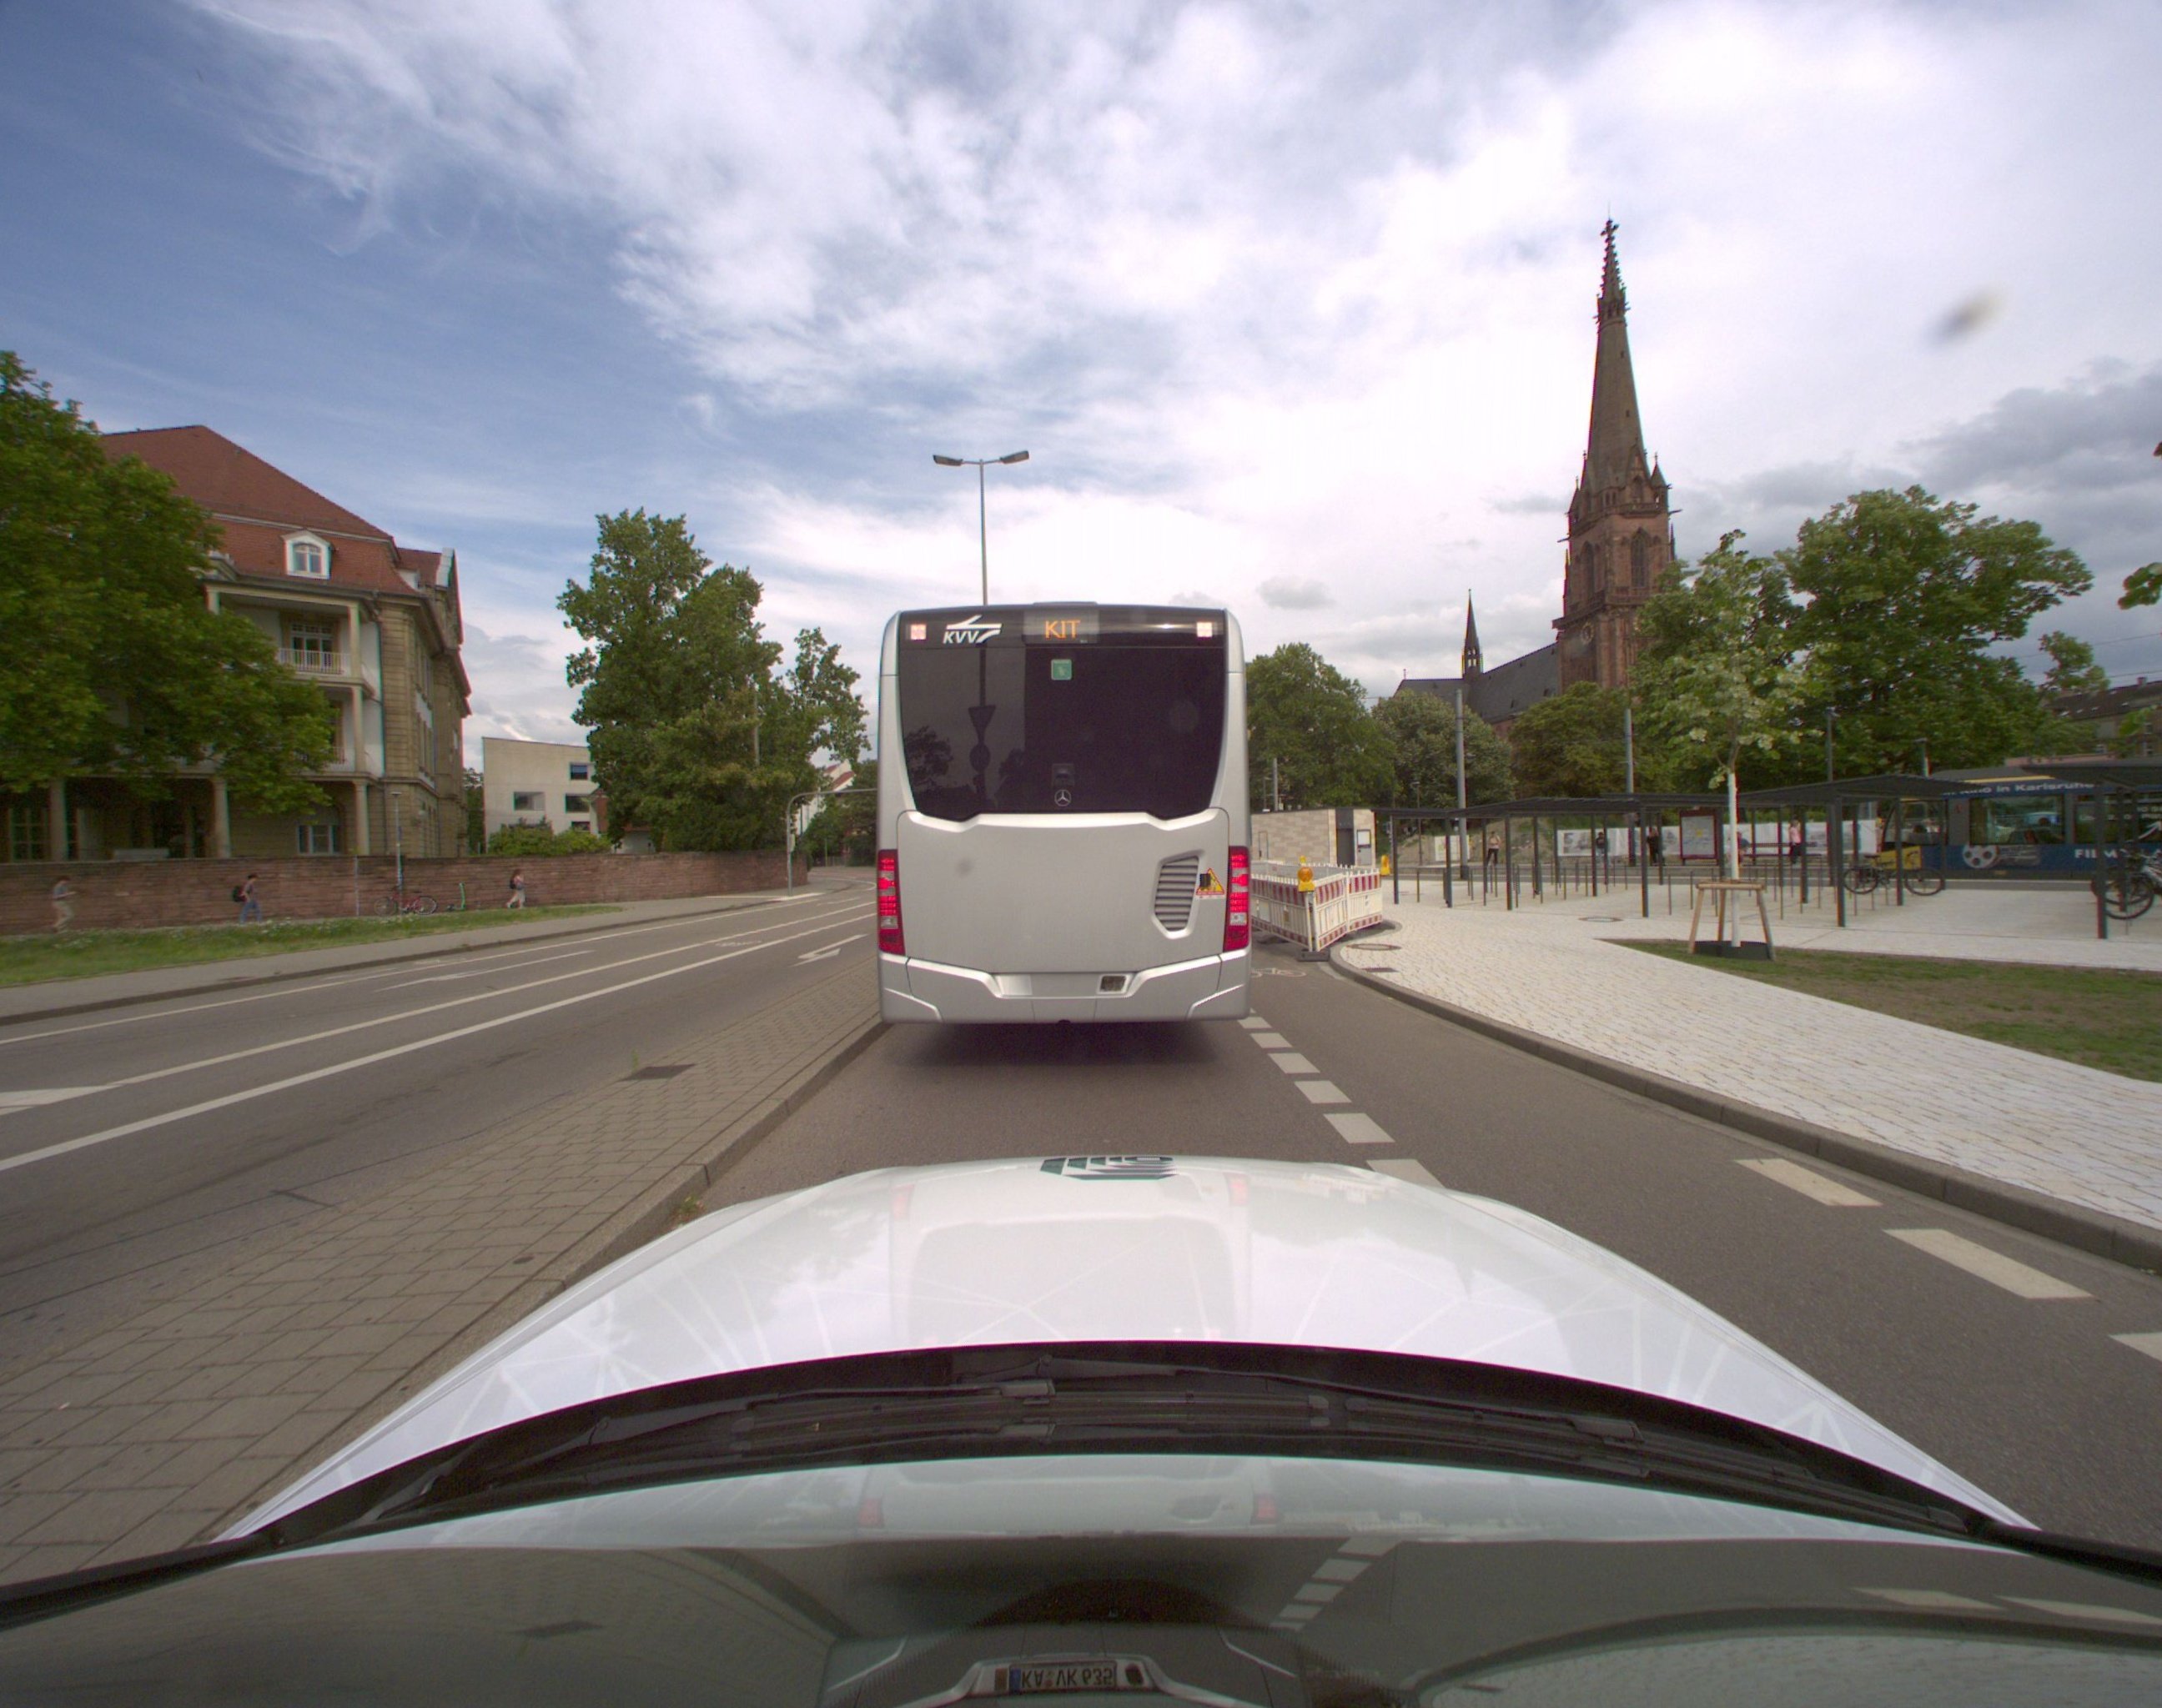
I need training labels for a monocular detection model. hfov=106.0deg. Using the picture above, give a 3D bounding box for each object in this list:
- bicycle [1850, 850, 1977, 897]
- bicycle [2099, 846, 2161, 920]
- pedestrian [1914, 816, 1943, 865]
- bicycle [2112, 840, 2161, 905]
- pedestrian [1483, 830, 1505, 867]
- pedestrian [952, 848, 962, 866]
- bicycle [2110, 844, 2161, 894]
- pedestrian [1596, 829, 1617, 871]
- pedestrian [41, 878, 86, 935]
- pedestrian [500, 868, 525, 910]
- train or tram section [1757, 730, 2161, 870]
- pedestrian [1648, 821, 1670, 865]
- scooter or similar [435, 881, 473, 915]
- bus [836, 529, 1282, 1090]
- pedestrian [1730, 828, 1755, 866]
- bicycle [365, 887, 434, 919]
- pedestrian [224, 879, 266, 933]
[{"bbox_3d":[18.783,0.405,18.419,0.587,0.955,1.944,-3,3,-38],"label":"bicycle"},{"bbox_3d":[17.816,0.469,12.969,0.587,1.156,1.942,-4,3,-43],"label":"bicycle"},{"bbox_3d":[29.868,-0.491,28.692,0.714,1.677,0.670,-4,3,-42],"label":"pedestrian"},{"bbox_3d":[20.091,0.332,14.596,0.587,1.156,1.942,-4,3,-43],"label":"bicycle"},{"bbox_3d":[20.504,-0.276,40.439,0.816,1.800,0.755,-1,2,11],"label":"pedestrian"},{"bbox_3d":[-14.819,0.352,97.217,0.891,2.013,1.000,-2,0,-26],"label":"pedestrian"},{"bbox_3d":[21.965,0.304,16.127,0.587,0.970,1.944,-3,3,-38],"label":"bicycle"},{"bbox_3d":[23.218,-0.191,36.003,0.526,1.800,0.670,-4,3,-42],"label":"pedestrian"},{"bbox_3d":[-30.991,1.582,24.808,0.570,1.654,0.787,0,3,38],"label":"pedestrian"},{"bbox_3d":[-23.186,1.409,33.228,0.525,1.654,0.634,0,3,37],"label":"pedestrian"},{"bbox_3d":[24.831,-1.396,22.308,3.076,3.276,9.270,-3,3,-35],"label":"train or tram section"},{"bbox_3d":[24.451,-0.476,34.462,0.526,1.800,0.670,-4,3,-42],"label":"pedestrian"},{"bbox_3d":[-24.569,1.711,31.938,0.519,1.139,1.513,-2,3,-13],"label":"scooter or similar"},{"bbox_3d":[-0.161,-0.248,12.163,2.696,3.438,14.180,-1,0,0],"label":"bus"},{"bbox_3d":[26.185,-0.283,32.247,0.694,1.485,0.670,-4,3,-42],"label":"pedestrian"},{"bbox_3d":[-25.637,1.826,30.660,1.937,1.005,0.770,-4,3,-42],"label":"bicycle"},{"bbox_3d":[-27.477,1.692,26.783,0.570,1.654,0.787,0,3,33],"label":"pedestrian"}]
